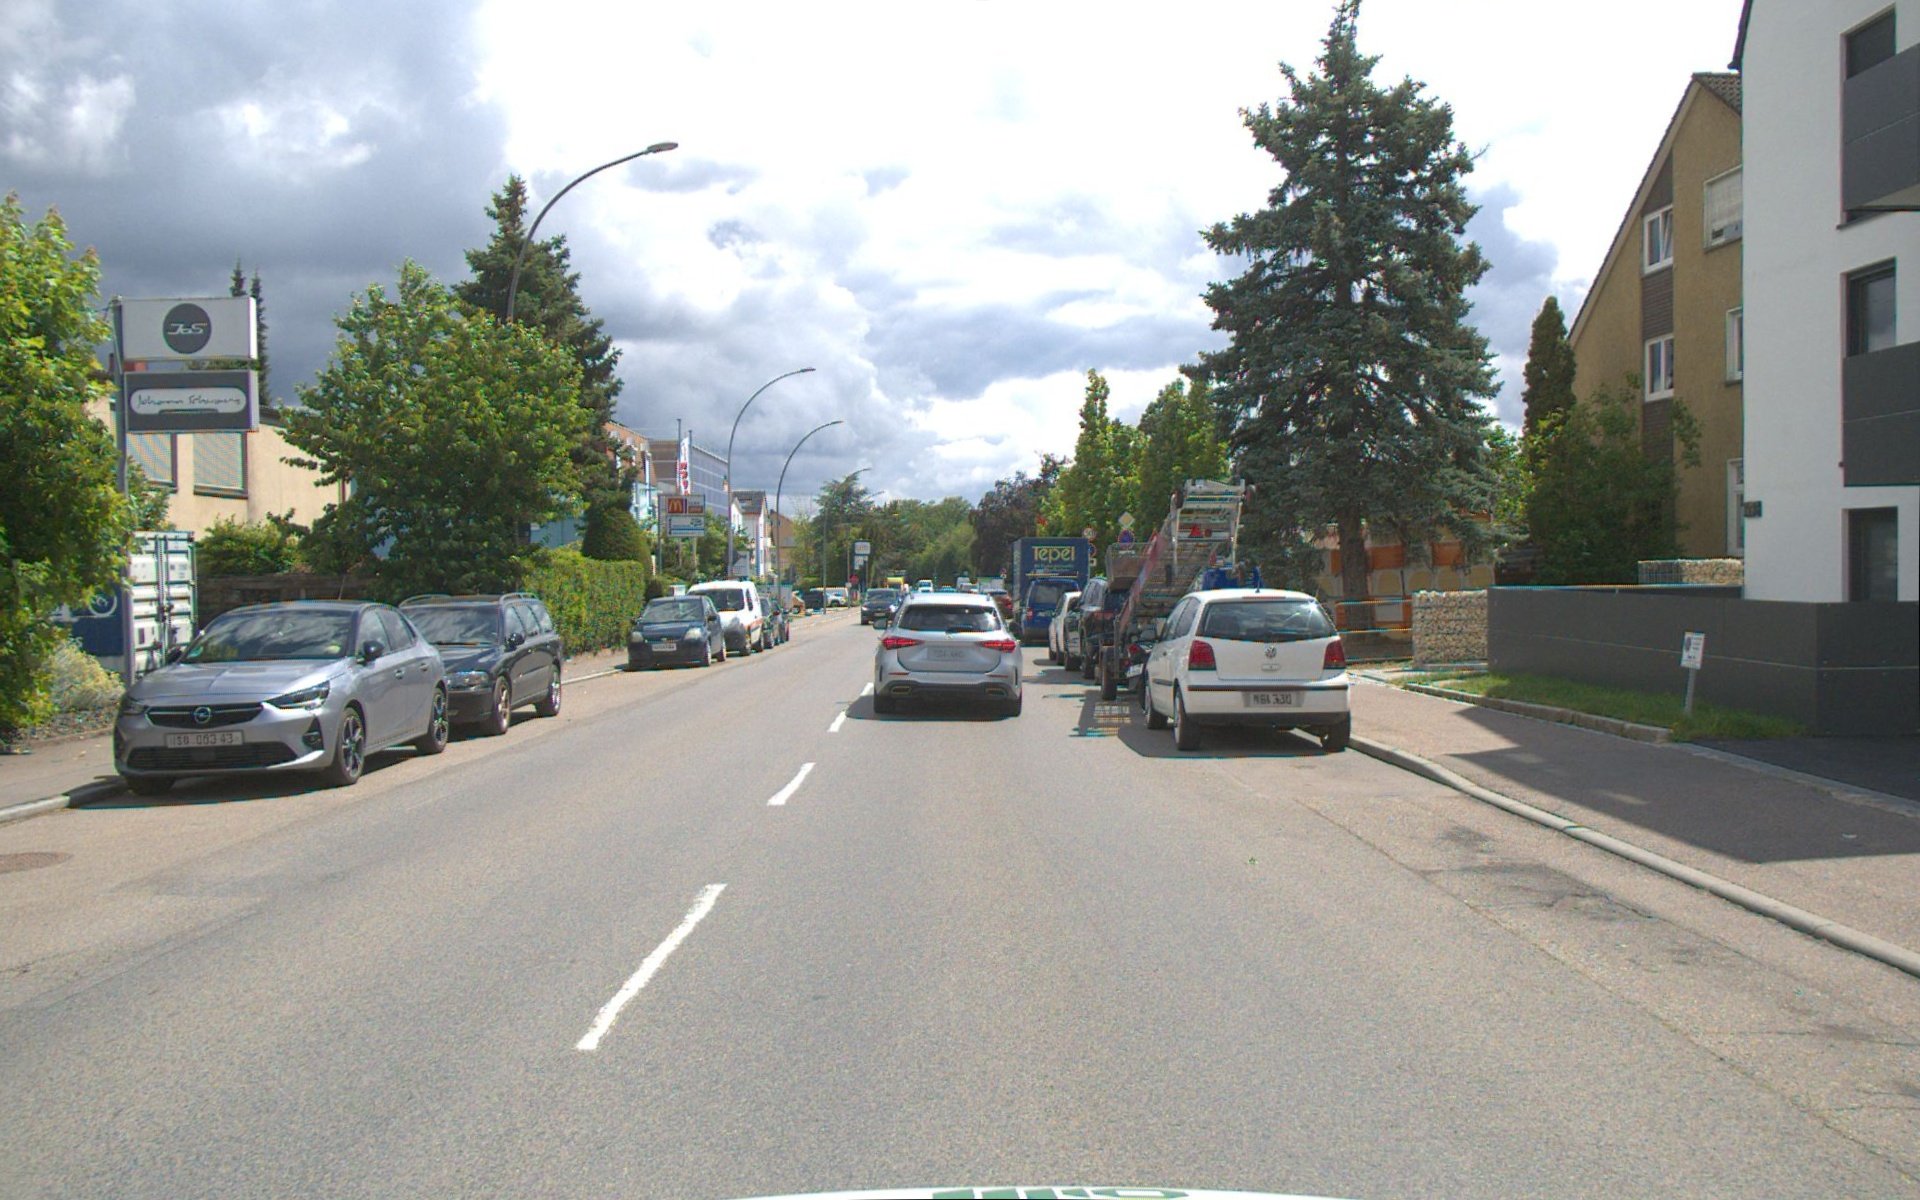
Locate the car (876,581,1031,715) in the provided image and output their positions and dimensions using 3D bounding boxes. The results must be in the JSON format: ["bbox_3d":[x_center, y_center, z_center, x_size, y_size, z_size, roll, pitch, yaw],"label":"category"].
[{"bbox_3d":[-0.157,0.527,21.002,1.748,1.510,4.315,0,1,-2],"label":"car"}]

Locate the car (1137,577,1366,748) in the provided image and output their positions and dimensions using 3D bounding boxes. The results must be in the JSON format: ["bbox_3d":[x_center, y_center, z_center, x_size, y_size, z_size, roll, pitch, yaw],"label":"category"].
[{"bbox_3d":[2.826,0.534,16.824,1.684,1.457,3.984,-2,1,2],"label":"car"}]

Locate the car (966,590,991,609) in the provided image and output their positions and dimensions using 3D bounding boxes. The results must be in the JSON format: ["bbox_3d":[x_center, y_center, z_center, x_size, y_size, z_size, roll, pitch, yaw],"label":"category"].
[{"bbox_3d":[1.553,-0.063,140.439,1.756,1.475,4.361,-2,1,-3],"label":"car"}]

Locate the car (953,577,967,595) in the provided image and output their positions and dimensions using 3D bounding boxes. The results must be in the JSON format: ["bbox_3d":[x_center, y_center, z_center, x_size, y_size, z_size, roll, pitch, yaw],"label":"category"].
[{"bbox_3d":[0.014,-1.953,236.539,1.748,2.562,4.314,0,0,-2],"label":"car"}]

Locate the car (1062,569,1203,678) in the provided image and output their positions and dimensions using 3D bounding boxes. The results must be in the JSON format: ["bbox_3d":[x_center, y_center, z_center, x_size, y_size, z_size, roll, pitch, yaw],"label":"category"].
[{"bbox_3d":[2.996,0.363,29.738,1.836,1.757,4.711,-1,1,-2],"label":"car"}]

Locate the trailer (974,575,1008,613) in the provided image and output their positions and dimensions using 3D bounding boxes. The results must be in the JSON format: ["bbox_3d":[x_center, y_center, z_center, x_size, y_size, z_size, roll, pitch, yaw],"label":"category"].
[{"bbox_3d":[1.957,-0.366,104.576,1.902,2.334,4.444,-1,0,-2],"label":"trailer"}]

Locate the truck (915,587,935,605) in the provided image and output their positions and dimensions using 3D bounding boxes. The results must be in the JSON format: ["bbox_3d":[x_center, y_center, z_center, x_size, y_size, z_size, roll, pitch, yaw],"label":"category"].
[{"bbox_3d":[-4.668,-0.559,221.143,2.271,2.216,6.450,-2,1,1],"label":"truck"}]

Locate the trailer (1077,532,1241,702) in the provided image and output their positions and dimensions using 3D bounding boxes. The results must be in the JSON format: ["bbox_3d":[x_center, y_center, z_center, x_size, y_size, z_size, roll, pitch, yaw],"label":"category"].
[{"bbox_3d":[2.754,0.195,23.717,1.737,2.182,4.113,-1,1,-1],"label":"trailer"}]

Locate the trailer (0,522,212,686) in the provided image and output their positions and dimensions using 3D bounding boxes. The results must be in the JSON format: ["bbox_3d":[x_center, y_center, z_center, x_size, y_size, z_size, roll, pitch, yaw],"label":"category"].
[{"bbox_3d":[-17.311,0.152,29.988,6.115,2.698,2.732,-3,1,-1],"label":"trailer"}]

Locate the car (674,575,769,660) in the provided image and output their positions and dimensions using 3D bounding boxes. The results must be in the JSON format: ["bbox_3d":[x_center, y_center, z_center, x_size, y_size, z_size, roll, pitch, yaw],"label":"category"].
[{"bbox_3d":[-5.831,0.368,40.866,1.708,1.870,4.354,-4,1,-2],"label":"car"}]

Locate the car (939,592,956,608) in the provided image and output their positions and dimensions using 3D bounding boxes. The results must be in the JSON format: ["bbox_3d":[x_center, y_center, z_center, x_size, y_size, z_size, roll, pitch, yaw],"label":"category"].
[{"bbox_3d":[-1.266,0.001,169.614,1.720,1.585,3.999,0,1,-1],"label":"car"}]

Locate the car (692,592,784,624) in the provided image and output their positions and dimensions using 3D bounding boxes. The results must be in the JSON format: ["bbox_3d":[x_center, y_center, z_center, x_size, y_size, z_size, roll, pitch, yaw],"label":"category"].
[{"bbox_3d":[-10.905,0.394,81.402,4.285,1.504,1.871,-1,-1,0],"label":"car"}]

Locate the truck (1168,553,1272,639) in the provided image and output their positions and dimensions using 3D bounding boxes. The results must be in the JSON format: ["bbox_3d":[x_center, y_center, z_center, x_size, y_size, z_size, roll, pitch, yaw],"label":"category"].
[{"bbox_3d":[7.167,-0.182,46.062,1.792,2.117,5.385,-4,2,-1],"label":"truck"}]

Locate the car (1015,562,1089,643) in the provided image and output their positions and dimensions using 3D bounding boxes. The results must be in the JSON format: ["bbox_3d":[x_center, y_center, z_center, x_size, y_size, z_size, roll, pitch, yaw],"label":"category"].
[{"bbox_3d":[2.588,0.043,47.484,1.835,2.207,4.464,1,1,0],"label":"car"}]

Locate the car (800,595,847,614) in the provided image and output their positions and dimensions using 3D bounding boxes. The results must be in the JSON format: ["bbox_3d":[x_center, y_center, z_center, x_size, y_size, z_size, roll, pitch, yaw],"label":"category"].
[{"bbox_3d":[-12.639,0.463,153.360,4.192,1.594,1.991,-1,-3,0],"label":"car"}]

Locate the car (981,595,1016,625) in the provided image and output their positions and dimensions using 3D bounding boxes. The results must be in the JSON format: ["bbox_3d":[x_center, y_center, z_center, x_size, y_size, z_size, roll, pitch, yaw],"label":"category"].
[{"bbox_3d":[2.187,0.543,93.448,1.901,1.599,4.447,-1,1,1],"label":"car"}]

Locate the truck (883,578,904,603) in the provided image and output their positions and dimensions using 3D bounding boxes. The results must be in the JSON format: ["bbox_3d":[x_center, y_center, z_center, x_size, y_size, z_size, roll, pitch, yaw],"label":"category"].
[{"bbox_3d":[-7.944,-1.108,197.653,2.032,2.863,7.078,-2,1,1],"label":"truck"}]

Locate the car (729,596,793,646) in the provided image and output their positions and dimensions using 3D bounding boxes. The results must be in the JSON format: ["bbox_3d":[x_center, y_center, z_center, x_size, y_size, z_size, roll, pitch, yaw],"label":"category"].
[{"bbox_3d":[-6.099,0.606,51.059,1.598,1.326,4.115,-4,1,-3],"label":"car"}]

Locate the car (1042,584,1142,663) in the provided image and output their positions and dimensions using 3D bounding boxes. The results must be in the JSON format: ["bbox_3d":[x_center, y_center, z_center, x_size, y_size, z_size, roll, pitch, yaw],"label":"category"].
[{"bbox_3d":[2.772,0.451,35.486,1.737,1.534,3.999,-1,1,-1],"label":"car"}]

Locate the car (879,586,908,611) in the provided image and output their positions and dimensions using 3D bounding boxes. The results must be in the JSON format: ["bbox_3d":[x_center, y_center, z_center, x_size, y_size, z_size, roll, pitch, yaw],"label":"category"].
[{"bbox_3d":[-4.688,-0.153,117.174,1.953,1.644,4.410,-2,1,-1],"label":"car"}]

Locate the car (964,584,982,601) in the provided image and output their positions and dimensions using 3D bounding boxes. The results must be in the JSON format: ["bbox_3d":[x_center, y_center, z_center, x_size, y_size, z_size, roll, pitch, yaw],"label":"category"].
[{"bbox_3d":[1.518,-0.895,199.392,2.100,2.018,5.261,-1,0,0],"label":"car"}]

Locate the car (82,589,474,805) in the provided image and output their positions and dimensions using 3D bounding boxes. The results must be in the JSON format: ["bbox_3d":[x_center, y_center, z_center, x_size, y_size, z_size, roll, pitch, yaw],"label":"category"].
[{"bbox_3d":[-5.572,0.691,14.130,1.685,1.457,4.198,-2,1,-2],"label":"car"}]

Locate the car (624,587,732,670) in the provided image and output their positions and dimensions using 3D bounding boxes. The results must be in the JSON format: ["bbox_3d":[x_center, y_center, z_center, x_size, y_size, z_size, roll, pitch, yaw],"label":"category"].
[{"bbox_3d":[-5.898,0.553,34.989,1.607,1.512,3.999,-4,1,-2],"label":"car"}]

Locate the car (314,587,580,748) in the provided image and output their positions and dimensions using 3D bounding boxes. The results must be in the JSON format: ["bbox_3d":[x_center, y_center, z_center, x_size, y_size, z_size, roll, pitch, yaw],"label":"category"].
[{"bbox_3d":[-5.677,0.659,18.926,1.685,1.519,4.734,-2,1,-2],"label":"car"}]

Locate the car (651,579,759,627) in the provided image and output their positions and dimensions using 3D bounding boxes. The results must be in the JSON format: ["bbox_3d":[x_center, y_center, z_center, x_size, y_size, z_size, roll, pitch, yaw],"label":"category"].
[{"bbox_3d":[-11.312,0.115,73.745,4.559,2.006,2.114,-1,1,-4],"label":"car"}]

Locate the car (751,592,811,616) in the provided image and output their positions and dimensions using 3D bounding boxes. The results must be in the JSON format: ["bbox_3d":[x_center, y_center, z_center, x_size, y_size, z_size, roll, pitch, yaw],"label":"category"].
[{"bbox_3d":[-12.617,0.288,116.911,4.068,1.518,1.824,1,1,-4],"label":"car"}]

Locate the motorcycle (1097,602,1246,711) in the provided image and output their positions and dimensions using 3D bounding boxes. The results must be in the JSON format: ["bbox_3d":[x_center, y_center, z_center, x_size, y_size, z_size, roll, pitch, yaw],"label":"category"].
[{"bbox_3d":[2.589,0.665,20.166,1.803,1.231,0.708,-2,1,-36],"label":"motorcycle"}]

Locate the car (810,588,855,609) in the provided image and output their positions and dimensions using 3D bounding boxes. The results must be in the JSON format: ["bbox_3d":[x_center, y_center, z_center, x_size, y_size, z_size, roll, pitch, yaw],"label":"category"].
[{"bbox_3d":[-12.224,-0.125,158.483,4.193,1.868,1.990,-1,-3,-2],"label":"car"}]

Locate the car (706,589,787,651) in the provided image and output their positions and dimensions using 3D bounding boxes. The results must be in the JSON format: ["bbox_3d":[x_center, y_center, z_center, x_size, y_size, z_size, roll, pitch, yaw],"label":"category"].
[{"bbox_3d":[-5.916,0.522,46.232,1.708,1.497,4.642,-4,1,-2],"label":"car"}]

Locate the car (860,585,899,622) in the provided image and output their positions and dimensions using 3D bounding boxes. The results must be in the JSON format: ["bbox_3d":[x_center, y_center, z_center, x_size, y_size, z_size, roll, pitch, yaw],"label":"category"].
[{"bbox_3d":[-3.744,0.146,77.396,1.708,1.656,4.355,0,1,-1],"label":"car"}]

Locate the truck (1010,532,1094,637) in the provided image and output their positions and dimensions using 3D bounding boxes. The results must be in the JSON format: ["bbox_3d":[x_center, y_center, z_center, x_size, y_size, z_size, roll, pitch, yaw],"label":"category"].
[{"bbox_3d":[2.866,-0.509,53.073,2.273,3.151,6.042,1,1,0],"label":"truck"}]

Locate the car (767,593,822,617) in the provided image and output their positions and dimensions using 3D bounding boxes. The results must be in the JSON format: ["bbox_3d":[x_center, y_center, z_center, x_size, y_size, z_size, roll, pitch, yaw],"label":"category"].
[{"bbox_3d":[-14.086,0.420,141.151,4.536,1.661,2.196,-4,1,-4],"label":"car"}]

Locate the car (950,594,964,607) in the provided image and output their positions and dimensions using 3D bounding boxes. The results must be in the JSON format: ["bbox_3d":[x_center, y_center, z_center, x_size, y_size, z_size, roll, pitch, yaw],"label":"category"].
[{"bbox_3d":[-0.418,0.049,224.535,1.748,1.745,4.314,0,0,-2],"label":"car"}]

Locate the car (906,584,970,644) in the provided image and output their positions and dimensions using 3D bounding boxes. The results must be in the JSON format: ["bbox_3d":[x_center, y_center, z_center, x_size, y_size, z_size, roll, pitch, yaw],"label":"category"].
[{"bbox_3d":[-0.634,0.362,46.978,1.720,1.585,3.999,0,1,-1],"label":"car"}]
